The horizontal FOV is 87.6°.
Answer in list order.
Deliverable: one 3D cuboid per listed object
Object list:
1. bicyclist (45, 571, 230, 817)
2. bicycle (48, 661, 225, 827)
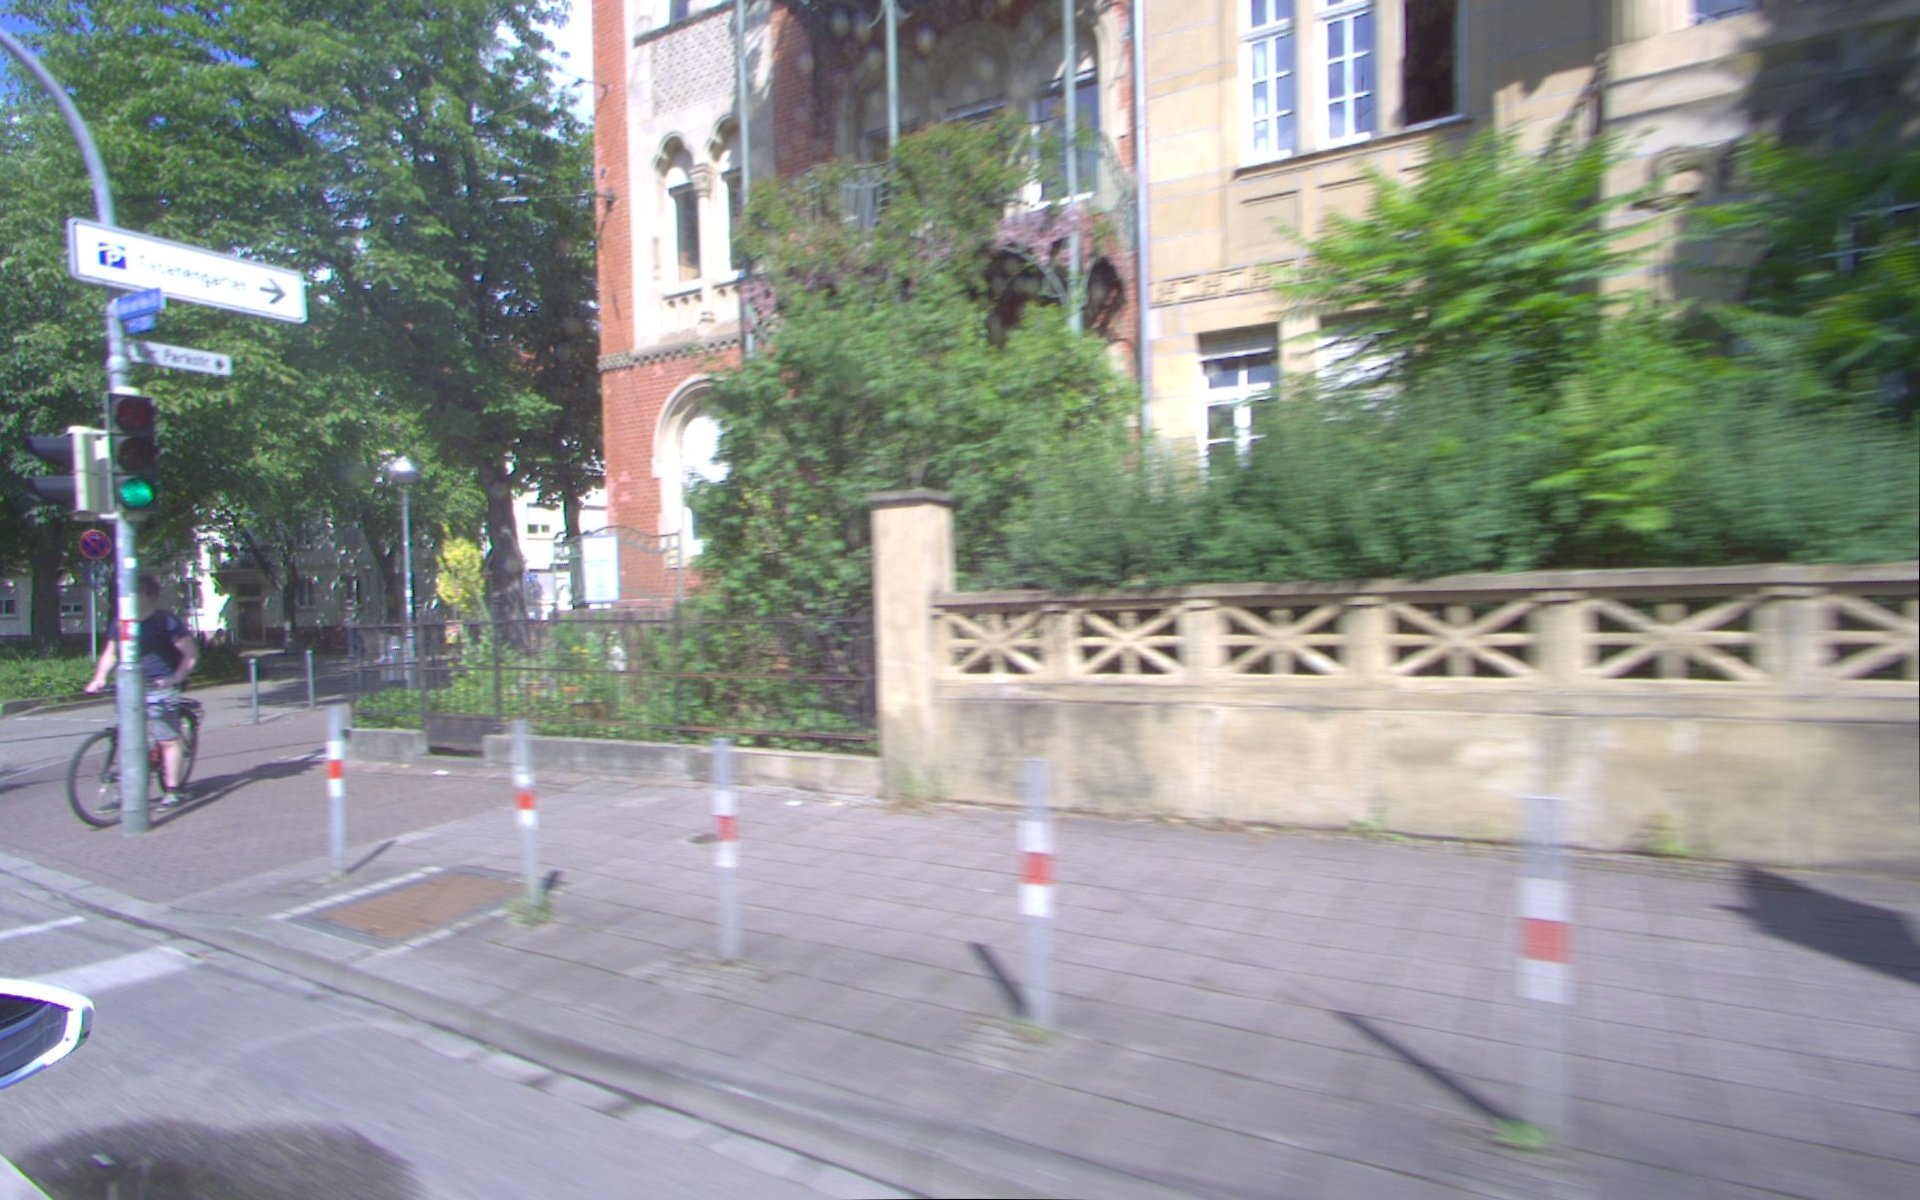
[{"bbox_3d":[-6.465,0.713,7.910,0.804,1.843,0.735,-1,1,6],"label":"bicyclist"},{"bbox_3d":[-6.469,1.069,7.972,0.383,1.049,1.841,-1,1,-17],"label":"bicycle"}]
